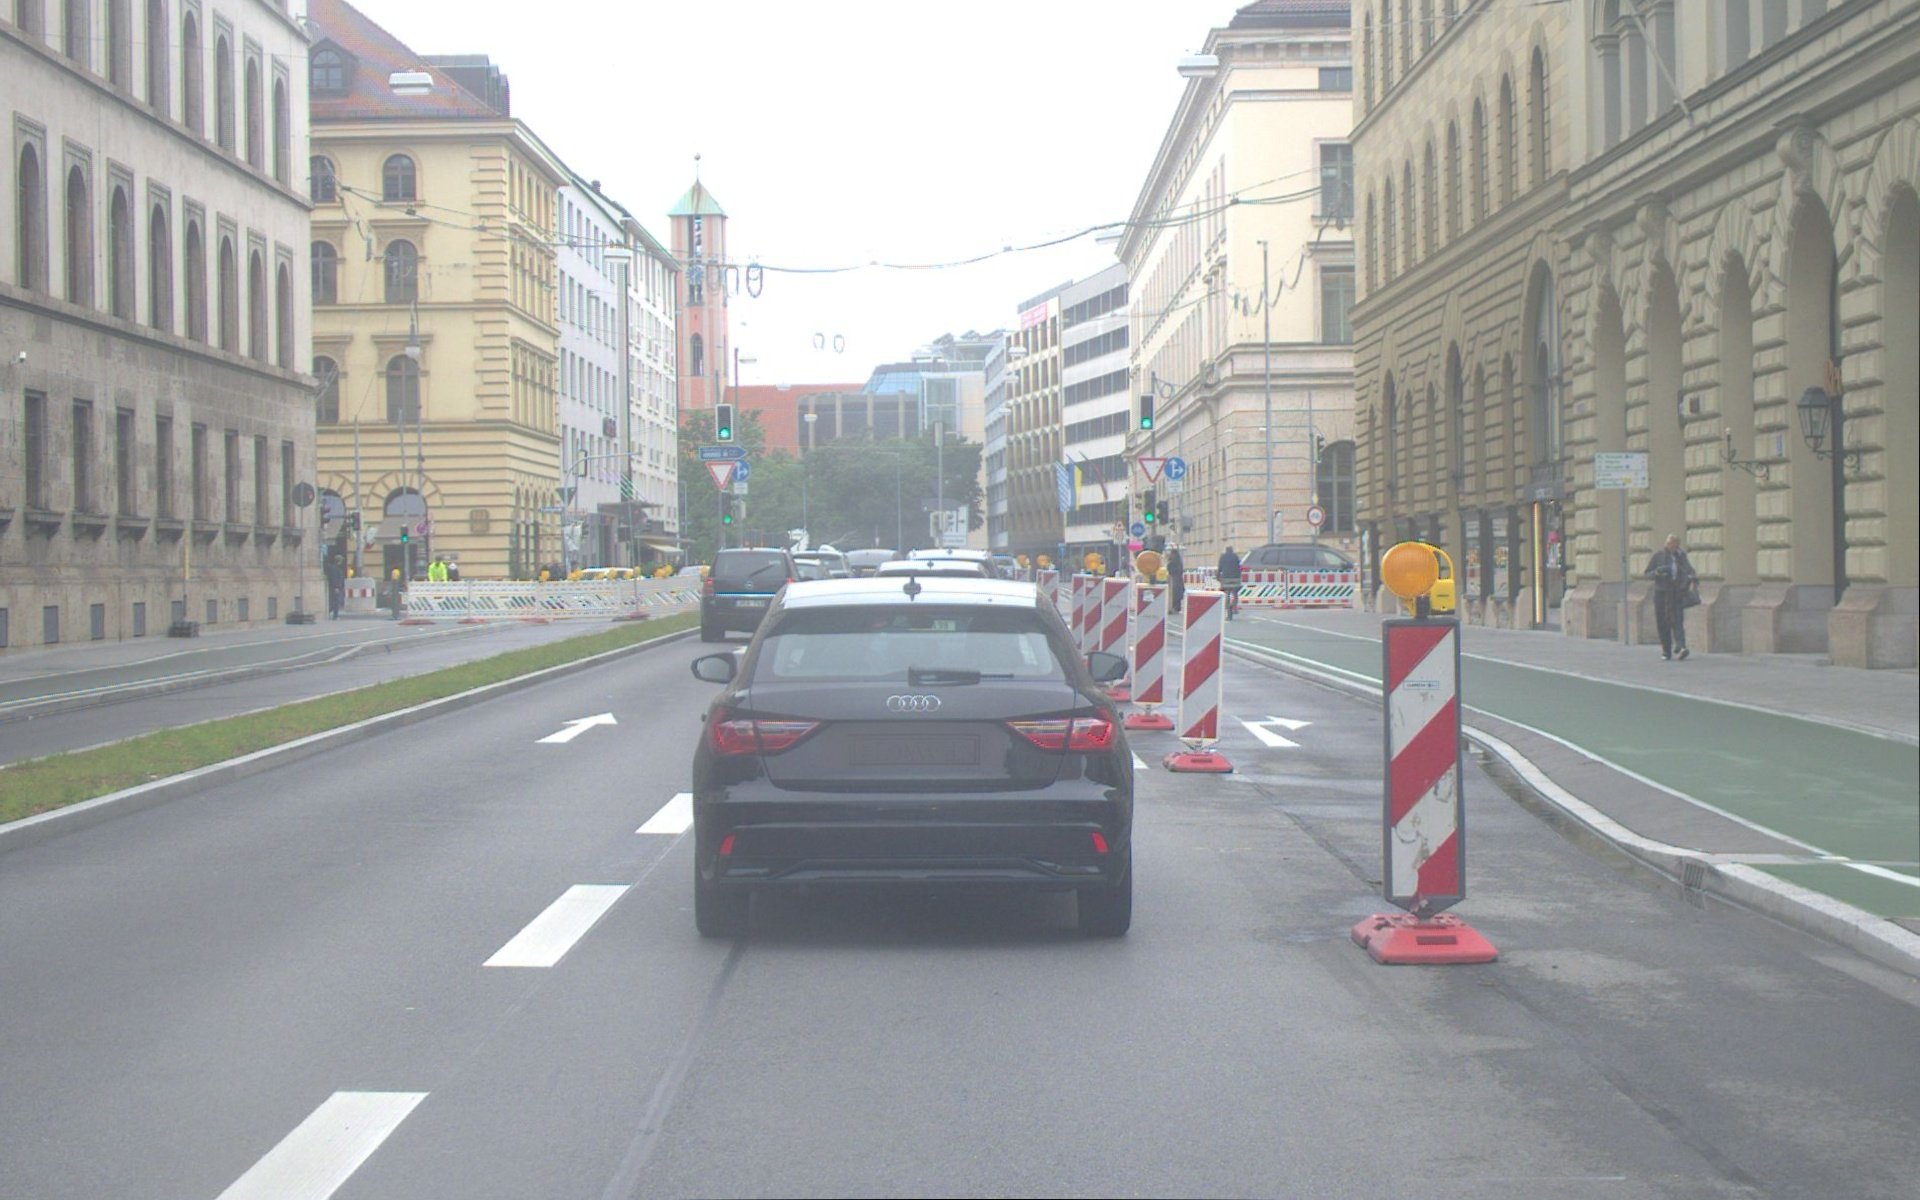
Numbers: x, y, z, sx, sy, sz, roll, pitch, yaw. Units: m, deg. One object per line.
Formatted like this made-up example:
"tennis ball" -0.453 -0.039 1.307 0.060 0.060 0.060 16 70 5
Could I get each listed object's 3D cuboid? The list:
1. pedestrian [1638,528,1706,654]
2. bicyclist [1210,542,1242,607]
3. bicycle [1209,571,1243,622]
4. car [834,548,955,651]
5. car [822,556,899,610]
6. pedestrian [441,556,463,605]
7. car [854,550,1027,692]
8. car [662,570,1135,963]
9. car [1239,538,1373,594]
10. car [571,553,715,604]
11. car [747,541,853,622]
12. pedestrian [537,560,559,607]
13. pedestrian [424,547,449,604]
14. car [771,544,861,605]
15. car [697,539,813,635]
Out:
"pedestrian" 9.289 -0.123 44.865 0.710 1.612 0.754 -1 1 0
"bicyclist" 6.198 -0.601 80.236 0.710 1.495 0.754 -1 1 3
"bicycle" 6.214 -0.084 80.341 0.728 1.152 2.172 -1 1 3
"car" -0.946 -0.044 51.517 1.730 1.456 4.000 1 1 0
"car" -2.735 -0.488 95.488 1.993 1.439 4.000 -1 1 0
"pedestrian" -17.854 -0.683 120.841 0.656 1.687 0.727 -1 1 0
"car" -0.199 0.185 36.648 1.730 1.398 4.000 1 1 0
"car" -0.231 0.598 14.714 1.730 1.398 4.000 1 1 0
"car" 10.462 -1.034 104.233 3.987 1.656 2.000 -1 1 5
"car" -9.069 -0.618 98.367 3.812 1.393 1.758 -1 1 -17
"car" -3.297 -0.401 71.555 1.993 1.622 4.000 -1 1 0
"pedestrian" -13.753 -0.554 114.732 0.656 1.584 0.727 -1 1 0
"pedestrian" -16.804 -0.783 110.373 0.656 1.799 0.727 -1 1 0
"car" -3.481 -0.631 83.591 1.993 1.439 4.000 -1 1 0
"car" -3.541 -0.248 59.946 1.764 1.610 4.030 1 1 0
